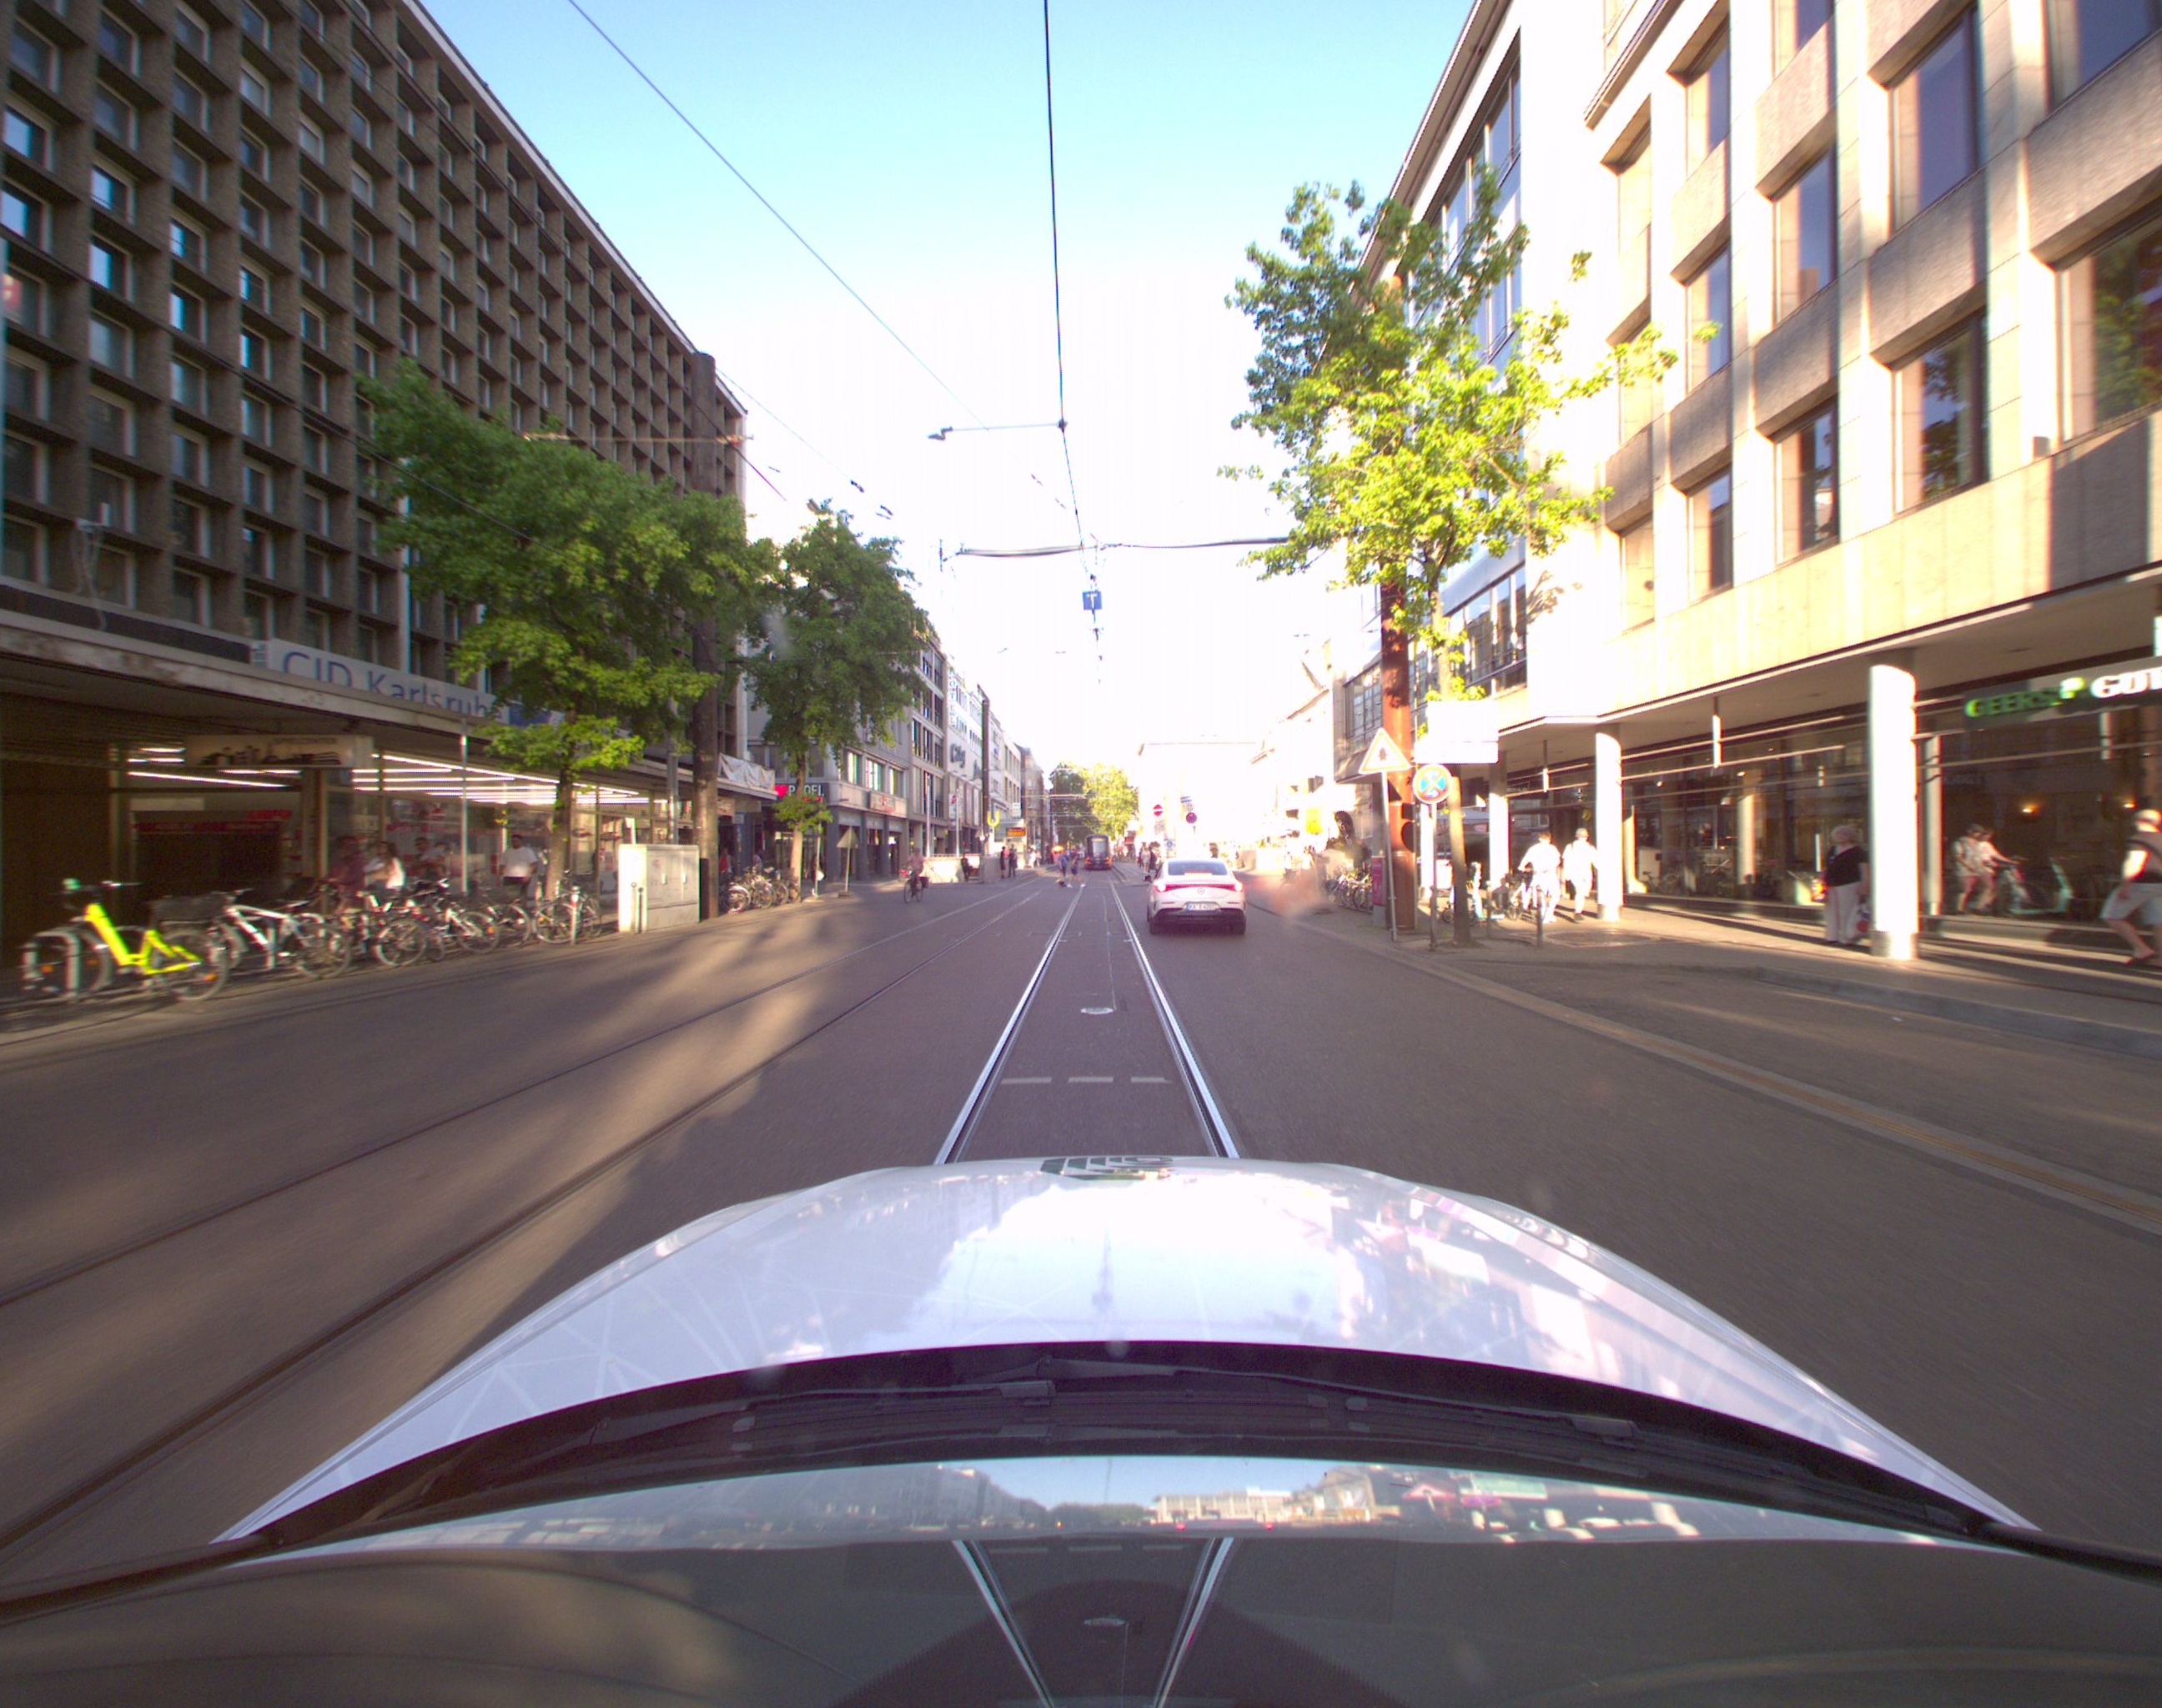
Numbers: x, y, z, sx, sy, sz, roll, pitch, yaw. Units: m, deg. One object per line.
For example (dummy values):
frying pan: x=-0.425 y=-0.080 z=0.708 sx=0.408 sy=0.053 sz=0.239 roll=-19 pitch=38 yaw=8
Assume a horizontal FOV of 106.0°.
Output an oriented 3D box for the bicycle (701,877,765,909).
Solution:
bicycle: x=-8.964 y=1.007 z=20.997 sx=1.487 sy=0.783 sz=0.345 roll=1 pitch=0 yaw=2

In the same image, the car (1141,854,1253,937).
car: x=2.234 y=0.741 z=16.691 sx=1.850 sy=1.455 sz=4.177 roll=0 pitch=0 yaw=2

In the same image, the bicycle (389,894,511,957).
bicycle: x=-9.024 y=1.019 z=11.663 sx=1.487 sy=0.841 sz=0.345 roll=1 pitch=0 yaw=2

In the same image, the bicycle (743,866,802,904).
bicycle: x=-8.754 y=0.880 z=23.125 sx=1.492 sy=1.029 sz=0.343 roll=1 pitch=0 yaw=-9

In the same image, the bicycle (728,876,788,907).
bicycle: x=-8.751 y=1.015 z=22.087 sx=1.487 sy=0.783 sz=0.345 roll=1 pitch=0 yaw=2

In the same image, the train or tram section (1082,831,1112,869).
train or tram section: x=1.649 y=-0.377 z=81.899 sx=2.685 sy=3.516 sz=12.548 roll=-1 pitch=0 yaw=1

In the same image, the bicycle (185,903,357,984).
bicycle: x=-9.160 y=1.005 z=9.238 sx=1.490 sy=0.876 sz=0.344 roll=1 pitch=0 yaw=-5

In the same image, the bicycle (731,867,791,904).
bicycle: x=-8.898 y=0.885 z=22.688 sx=1.492 sy=1.009 sz=0.343 roll=1 pitch=0 yaw=-9

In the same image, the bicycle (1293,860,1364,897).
bicycle: x=7.863 y=0.765 z=25.887 sx=2.114 sy=1.096 sz=0.608 roll=-1 pitch=0 yaw=-10

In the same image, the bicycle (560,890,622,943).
bicycle: x=-8.360 y=1.046 z=13.928 sx=0.343 sy=0.783 sz=1.402 roll=1 pitch=0 yaw=-6

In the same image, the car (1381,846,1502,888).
car: x=13.405 y=0.465 z=30.371 sx=3.794 sy=1.473 sz=1.647 roll=-1 pitch=0 yaw=-4

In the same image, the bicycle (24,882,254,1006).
bicycle: x=-9.185 y=0.867 z=7.960 sx=1.839 sy=1.141 sz=0.377 roll=1 pitch=0 yaw=2

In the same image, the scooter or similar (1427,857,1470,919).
scooter or similar: x=7.820 y=0.717 z=17.344 sx=0.527 sy=1.277 sz=0.658 roll=-2 pitch=0 yaw=-10

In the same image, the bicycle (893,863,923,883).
bicycle: x=-9.388 y=1.017 z=44.333 sx=0.713 sy=1.010 sz=2.047 roll=-1 pitch=0 yaw=15

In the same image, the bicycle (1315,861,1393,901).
bicycle: x=7.896 y=0.776 z=23.601 sx=2.115 sy=1.096 sz=0.607 roll=-1 pitch=0 yaw=-12

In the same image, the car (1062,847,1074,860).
car: x=-2.390 y=-0.114 z=151.210 sx=1.903 sy=2.461 sz=5.277 roll=-1 pitch=0 yaw=2

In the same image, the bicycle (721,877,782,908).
bicycle: x=-8.792 y=1.013 z=21.728 sx=1.487 sy=0.783 sz=0.345 roll=1 pitch=0 yaw=2

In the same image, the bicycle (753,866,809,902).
bicycle: x=-8.794 y=0.883 z=23.873 sx=1.492 sy=1.029 sz=0.343 roll=1 pitch=0 yaw=-9

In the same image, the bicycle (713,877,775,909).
bicycle: x=-8.833 y=1.020 z=21.359 sx=1.487 sy=0.783 sz=0.345 roll=1 pitch=0 yaw=2

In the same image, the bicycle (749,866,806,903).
bicycle: x=-8.756 y=0.880 z=23.500 sx=1.492 sy=1.029 sz=0.343 roll=1 pitch=0 yaw=-9

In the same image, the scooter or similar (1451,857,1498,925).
scooter or similar: x=7.638 y=0.710 z=15.835 sx=0.491 sy=1.277 sz=0.658 roll=-2 pitch=0 yaw=-10

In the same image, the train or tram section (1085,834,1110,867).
train or tram section: x=1.953 y=-0.407 z=94.452 sx=2.685 sy=3.516 sz=12.548 roll=-1 pitch=0 yaw=1

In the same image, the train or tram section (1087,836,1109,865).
train or tram section: x=2.233 y=-0.430 z=106.293 sx=2.685 sy=3.516 sz=11.146 roll=-1 pitch=0 yaw=1

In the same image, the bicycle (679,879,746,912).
bicycle: x=-9.007 y=1.012 z=19.923 sx=1.487 sy=0.783 sz=0.345 roll=1 pitch=0 yaw=2

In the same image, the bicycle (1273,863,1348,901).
bicycle: x=6.815 y=0.828 z=24.217 sx=2.114 sy=1.096 sz=0.608 roll=0 pitch=-1 yaw=-10

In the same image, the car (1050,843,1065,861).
car: x=-3.776 y=-0.358 z=132.435 sx=1.986 sy=2.897 sz=5.277 roll=-1 pitch=0 yaw=2

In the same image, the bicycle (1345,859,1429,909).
bicycle: x=7.681 y=0.735 z=20.451 sx=1.908 sy=1.156 sz=0.608 roll=-2 pitch=0 yaw=-10

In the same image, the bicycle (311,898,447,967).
bicycle: x=-9.158 y=1.014 z=10.635 sx=1.487 sy=0.841 sz=0.345 roll=1 pitch=0 yaw=2

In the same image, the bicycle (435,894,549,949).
bicycle: x=-8.948 y=1.023 z=12.383 sx=1.487 sy=0.783 sz=0.345 roll=1 pitch=0 yaw=2

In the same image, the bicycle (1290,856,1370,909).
bicycle: x=6.498 y=0.724 z=21.273 sx=1.908 sy=1.281 sz=0.608 roll=-2 pitch=0 yaw=-10

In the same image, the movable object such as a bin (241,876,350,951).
movable object such as a bin: x=-11.864 y=0.879 z=12.334 sx=0.713 sy=1.039 sz=0.980 roll=-1 pitch=0 yaw=-5

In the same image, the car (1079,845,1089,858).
car: x=0.756 y=-0.599 z=183.230 sx=2.091 sy=2.897 sz=5.277 roll=-1 pitch=0 yaw=2

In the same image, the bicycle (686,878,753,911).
bicycle: x=-8.996 y=1.015 z=20.278 sx=1.487 sy=0.783 sz=0.345 roll=1 pitch=0 yaw=2

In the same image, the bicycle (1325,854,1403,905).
bicycle: x=7.692 y=0.678 z=22.165 sx=1.908 sy=1.281 sz=0.608 roll=-2 pitch=0 yaw=-10

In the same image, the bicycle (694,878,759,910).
bicycle: x=-8.982 y=1.015 z=20.637 sx=1.487 sy=0.783 sz=0.345 roll=1 pitch=0 yaw=2

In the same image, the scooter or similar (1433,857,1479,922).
scooter or similar: x=7.639 y=0.714 z=16.623 sx=0.527 sy=1.277 sz=0.658 roll=-2 pitch=0 yaw=-10

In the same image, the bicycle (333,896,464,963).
bicycle: x=-9.226 y=1.016 z=11.022 sx=1.487 sy=0.841 sz=0.345 roll=1 pitch=0 yaw=2

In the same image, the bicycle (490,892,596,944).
bicycle: x=-8.618 y=1.025 z=13.061 sx=1.487 sy=0.783 sz=0.345 roll=1 pitch=0 yaw=2
